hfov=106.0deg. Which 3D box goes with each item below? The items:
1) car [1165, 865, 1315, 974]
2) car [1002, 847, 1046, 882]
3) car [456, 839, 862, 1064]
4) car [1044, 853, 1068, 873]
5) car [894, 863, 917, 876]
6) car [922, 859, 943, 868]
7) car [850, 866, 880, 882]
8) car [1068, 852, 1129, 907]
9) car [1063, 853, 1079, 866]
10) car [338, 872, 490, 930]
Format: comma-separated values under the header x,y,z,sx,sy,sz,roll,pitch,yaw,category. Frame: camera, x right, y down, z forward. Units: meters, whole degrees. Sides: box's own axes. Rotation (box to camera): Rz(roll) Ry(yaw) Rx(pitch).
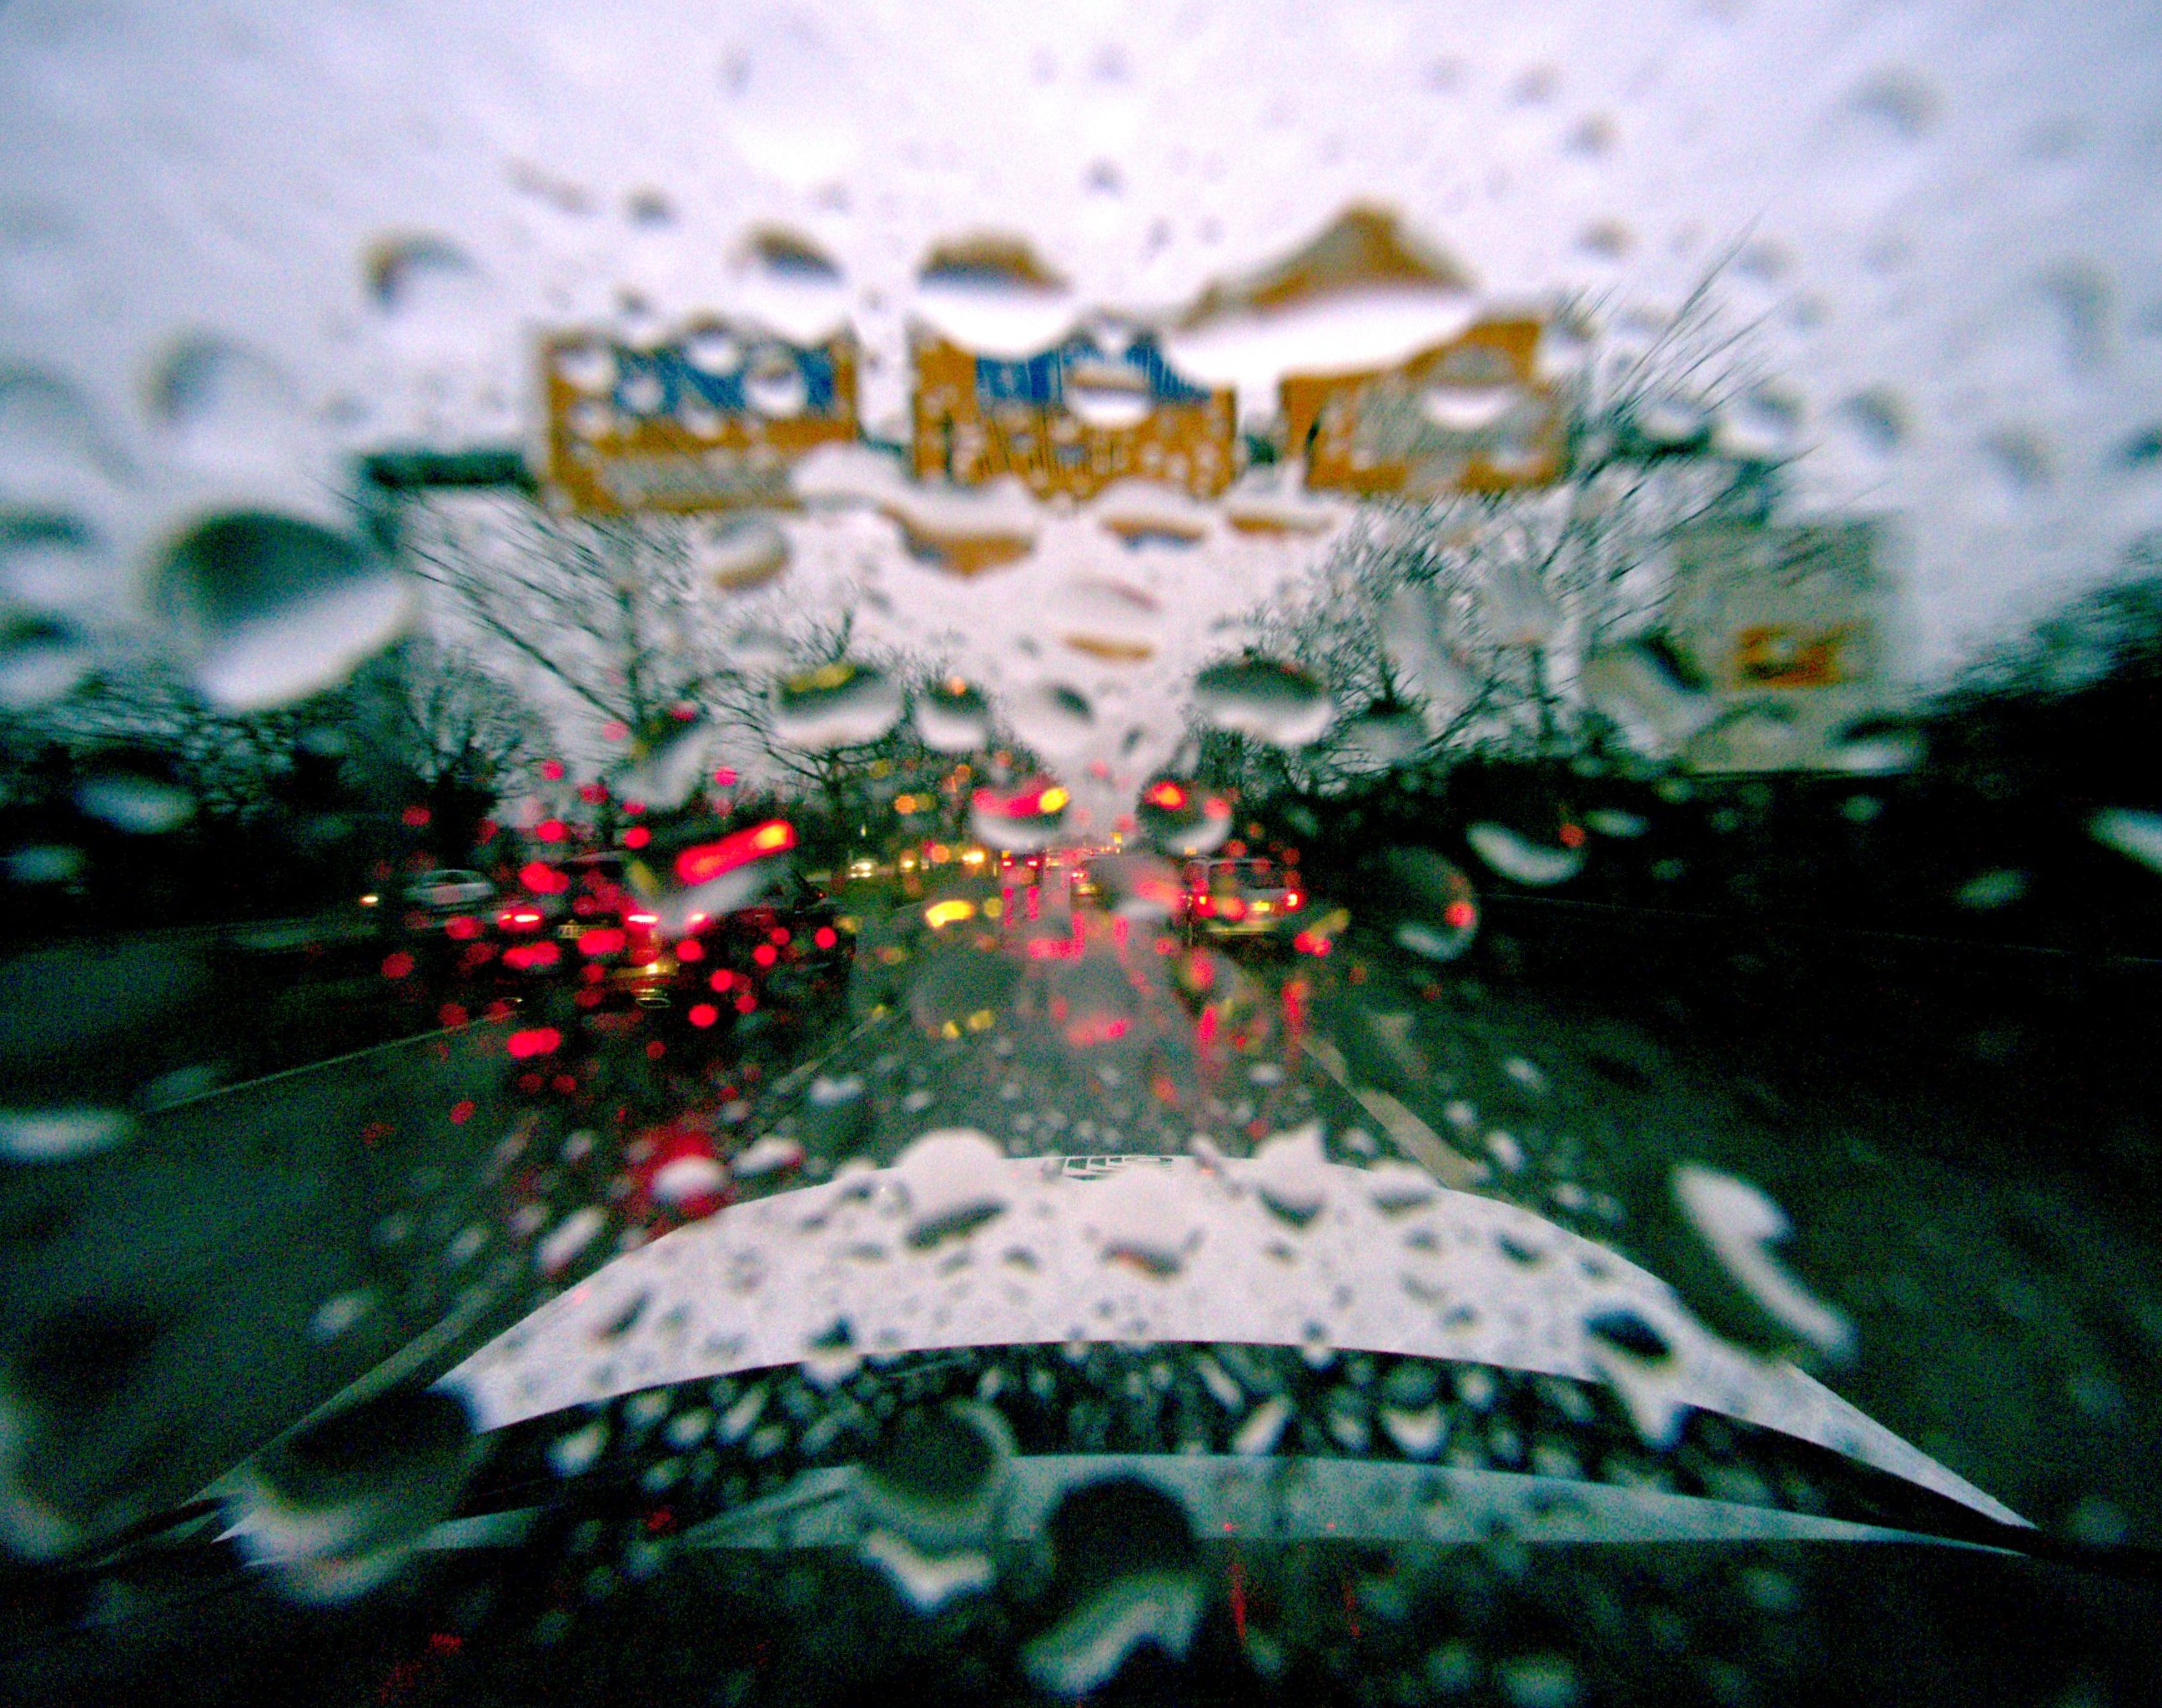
x,y,z,sx,sy,sz,roll,pitch,yaw,category
2.630,1.030,14.516,1.926,1.648,4.468,0,-1,2,car
-2.909,0.547,42.426,1.815,1.648,4.001,-2,-1,2,car
-3.799,0.763,8.399,1.816,1.648,4.465,-2,-1,0,car
-2.106,0.763,69.666,1.815,1.648,4.001,-2,-1,2,car
-18.338,1.606,85.308,1.633,1.339,3.998,0,0,-1,car
-20.263,1.341,111.276,1.986,1.191,4.002,0,-1,2,car
-22.085,2.016,83.334,1.744,1.482,4.200,-1,0,2,car
0.588,0.804,26.527,1.815,1.648,4.468,0,-1,2,car
-1.092,0.597,90.882,1.499,1.339,4.001,-2,-1,2,car
-20.642,1.401,25.400,1.779,1.627,3.574,-1,0,0,car
